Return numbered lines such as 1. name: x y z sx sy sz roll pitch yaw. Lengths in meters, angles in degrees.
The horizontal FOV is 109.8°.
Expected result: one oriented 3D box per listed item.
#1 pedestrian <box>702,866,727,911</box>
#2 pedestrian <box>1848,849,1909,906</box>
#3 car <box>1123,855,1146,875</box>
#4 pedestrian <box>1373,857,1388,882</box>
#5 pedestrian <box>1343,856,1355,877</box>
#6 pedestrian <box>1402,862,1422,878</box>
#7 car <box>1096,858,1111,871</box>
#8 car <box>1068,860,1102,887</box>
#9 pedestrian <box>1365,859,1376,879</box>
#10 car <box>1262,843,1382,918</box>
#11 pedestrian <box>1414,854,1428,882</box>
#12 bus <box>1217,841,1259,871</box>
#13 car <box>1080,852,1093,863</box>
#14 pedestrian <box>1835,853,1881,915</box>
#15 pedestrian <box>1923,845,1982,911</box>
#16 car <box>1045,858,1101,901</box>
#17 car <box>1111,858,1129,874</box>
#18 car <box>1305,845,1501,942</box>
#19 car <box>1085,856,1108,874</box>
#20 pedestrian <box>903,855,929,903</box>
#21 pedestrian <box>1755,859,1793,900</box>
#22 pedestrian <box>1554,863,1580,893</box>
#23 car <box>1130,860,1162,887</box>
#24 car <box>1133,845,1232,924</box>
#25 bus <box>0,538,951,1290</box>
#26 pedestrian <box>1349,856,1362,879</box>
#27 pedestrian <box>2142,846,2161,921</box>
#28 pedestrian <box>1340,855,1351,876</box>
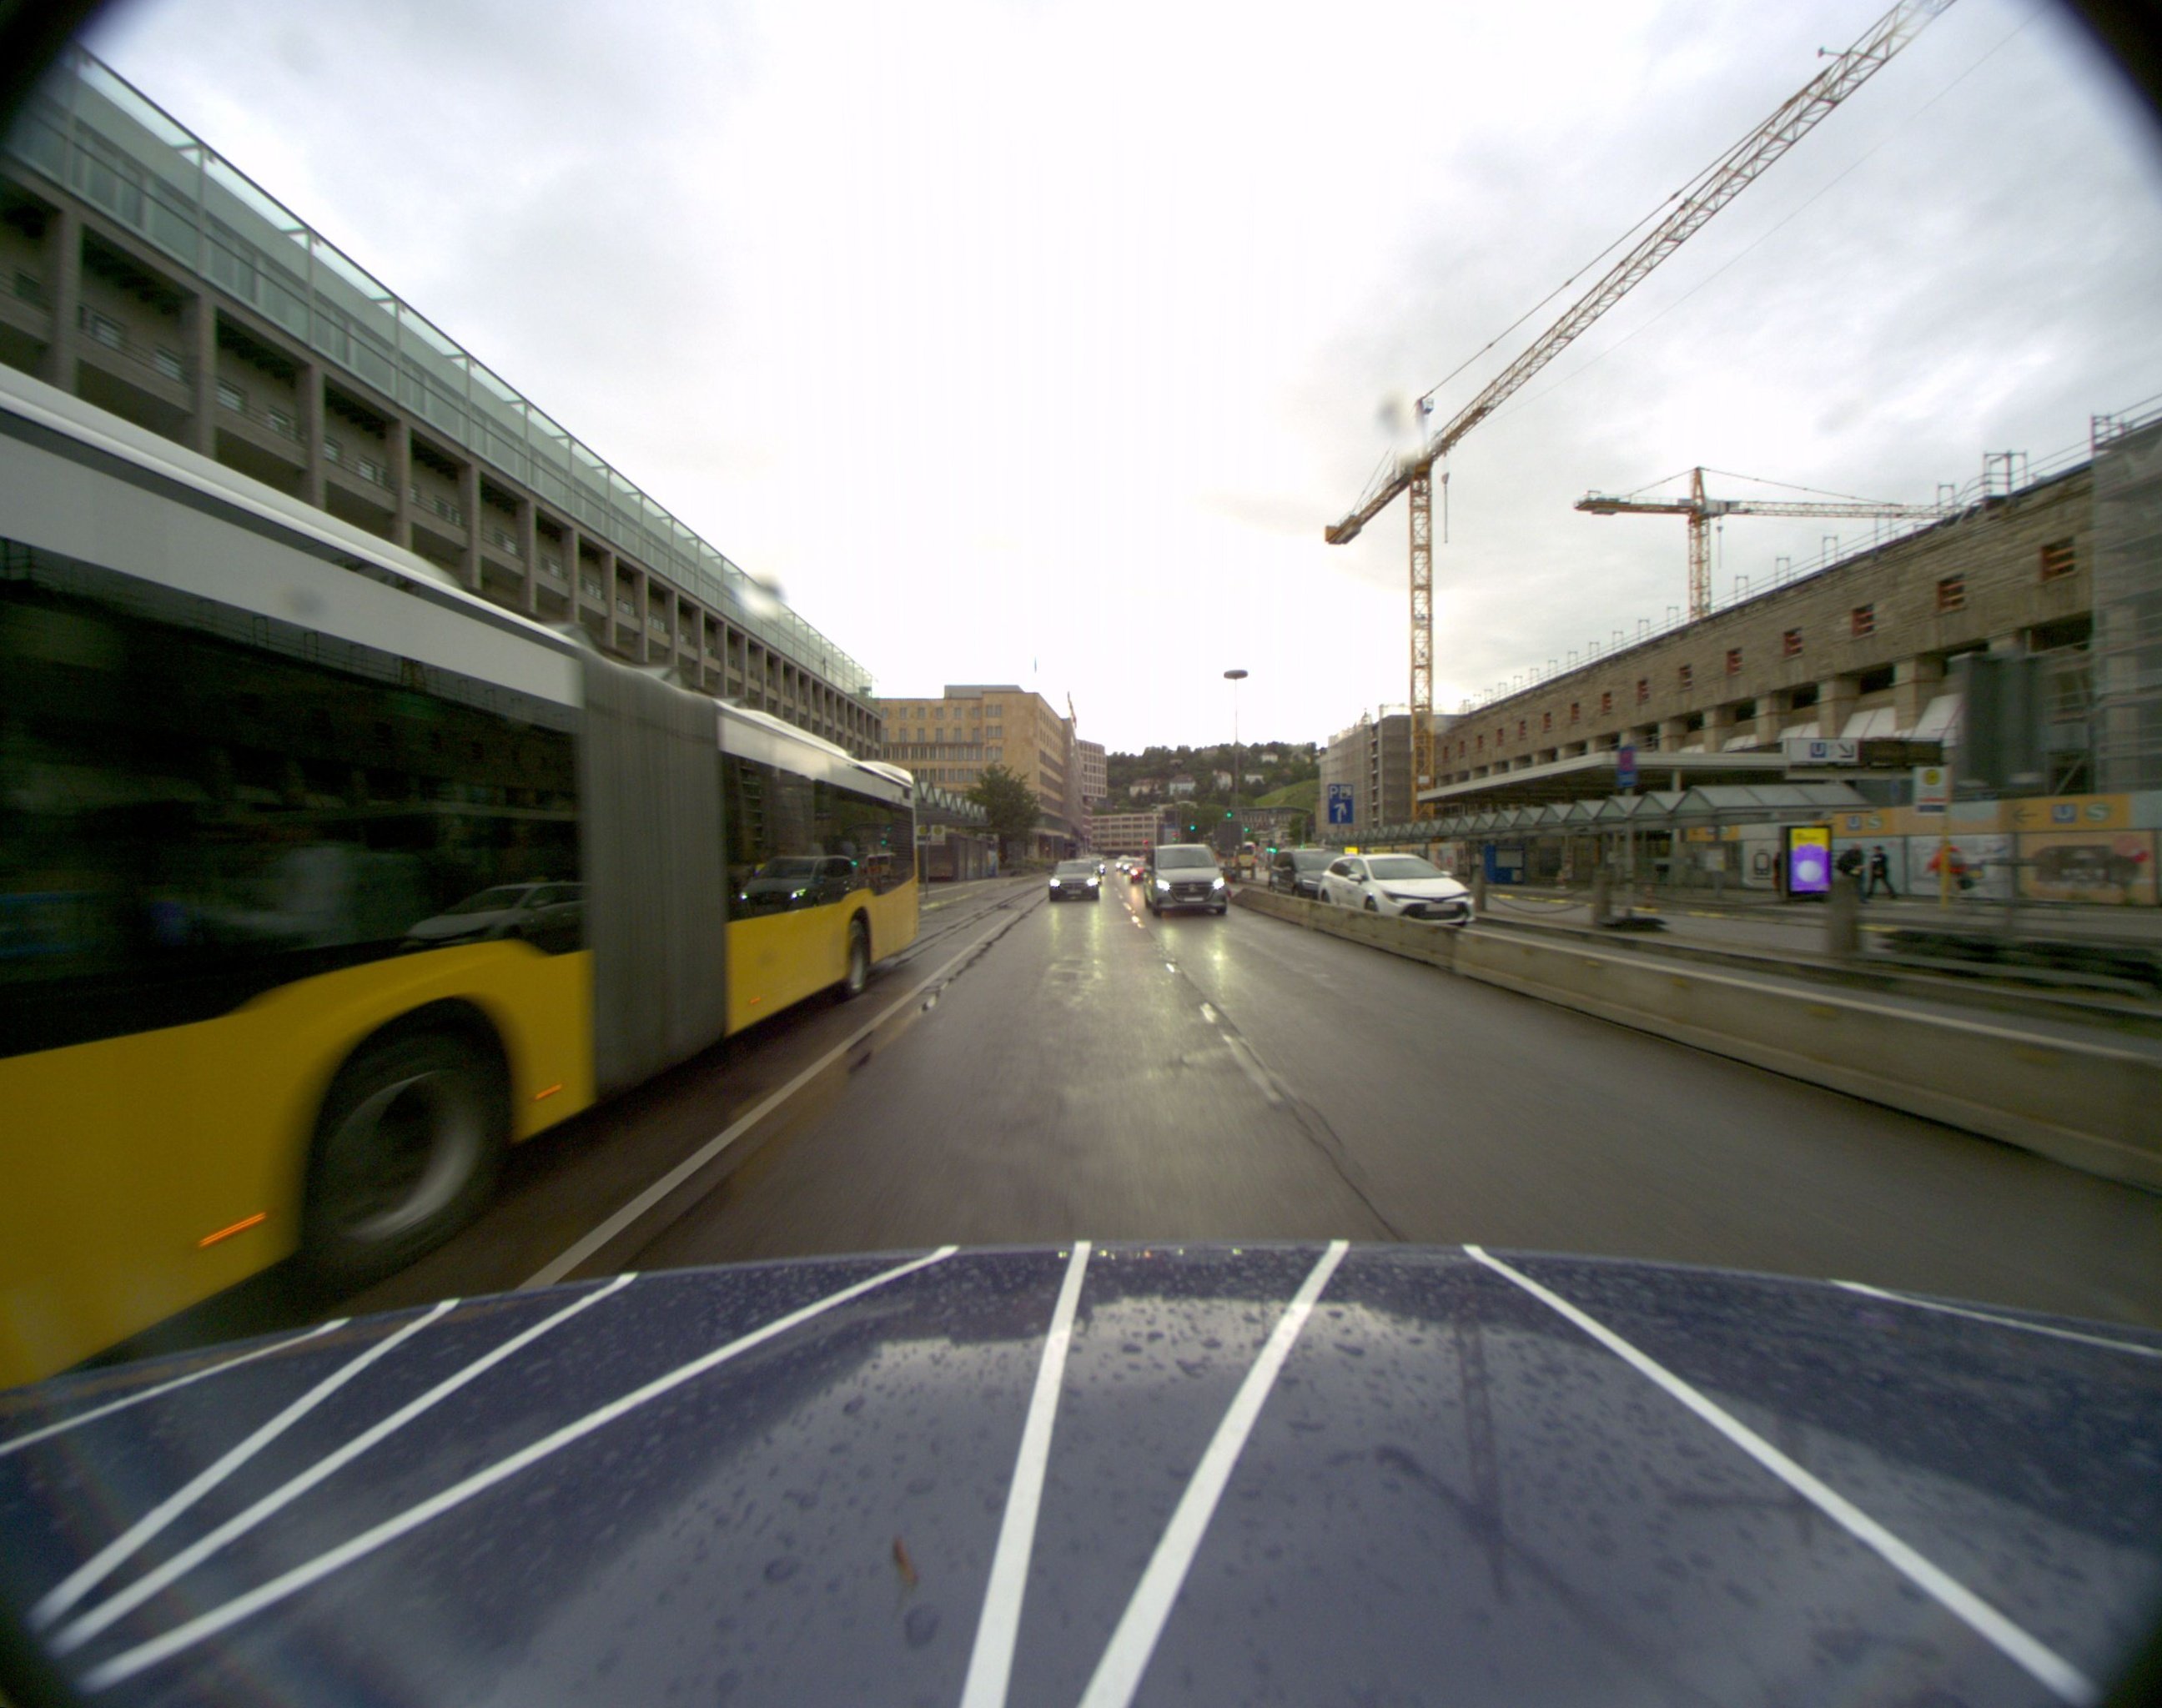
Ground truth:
1. pedestrian: -11.622 1.086 24.113 0.553 1.369 0.508 -1 0 -3
2. pedestrian: 26.519 0.755 25.284 0.859 1.830 1.045 -2 0 1
3. car: 4.912 1.010 70.092 1.872 1.747 3.902 -2 1 1
4. pedestrian: 22.277 1.145 56.465 0.673 1.779 0.781 -1 0 -26
5. pedestrian: 22.459 1.032 63.692 0.726 1.779 0.747 -1 0 -4
6. pedestrian: 23.323 1.116 53.489 0.952 1.151 1.055 -1 0 2
7. car: 2.858 1.311 95.228 1.763 1.582 3.843 -2 0 3
8. car: 0.277 1.133 45.680 1.876 1.499 4.165 -1 0 3
9. pedestrian: 24.092 1.273 63.253 0.557 1.621 0.805 -1 0 -7
10. car: 6.466 0.653 21.027 1.998 1.851 4.833 0 0 3
11. pedestrian: 21.886 0.892 48.887 0.679 1.837 0.556 -1 1 -43
12. bus: 20.871 0.221 102.273 2.916 3.557 19.082 0 0 4
13. car: 0.989 0.559 133.142 1.998 1.873 4.998 -1 0 3
14. pedestrian: 23.339 0.889 22.830 0.745 1.830 0.703 -1 0 21
15. pedestrian: 26.293 0.706 22.936 0.744 1.928 0.864 -3 0 -2
16. car: -0.236 0.929 29.542 1.822 1.455 4.701 -2 0 3
17. car: 4.460 1.337 87.453 1.872 1.715 3.902 -2 0 1
18. car: 6.355 0.687 15.740 1.999 1.696 4.832 0 0 0
19. car: 1.418 0.982 68.447 1.998 1.548 3.909 -1 0 3
20. pedestrian: -5.938 0.882 27.299 0.762 1.680 0.997 -1 0 -19
21. pedestrian: 26.190 0.958 28.713 0.805 1.538 0.701 -1 0 -4
22. pedestrian: 22.326 1.100 34.905 0.701 1.318 0.805 -1 0 0
23. car: 3.840 1.130 45.365 1.709 1.485 3.670 -2 0 2
24. car: 2.692 0.769 21.458 1.999 1.893 5.250 -2 0 0
25. bus: -3.872 0.266 7.895 3.149 3.229 9.135 -2 0 1
26. pedestrian: 21.609 1.026 59.748 0.776 1.779 0.861 -1 0 9
27. pedestrian: 26.922 0.724 18.673 0.744 1.830 0.656 -1 0 5
28. pedestrian: 22.755 0.979 65.328 0.557 1.779 0.805 -1 0 -7
